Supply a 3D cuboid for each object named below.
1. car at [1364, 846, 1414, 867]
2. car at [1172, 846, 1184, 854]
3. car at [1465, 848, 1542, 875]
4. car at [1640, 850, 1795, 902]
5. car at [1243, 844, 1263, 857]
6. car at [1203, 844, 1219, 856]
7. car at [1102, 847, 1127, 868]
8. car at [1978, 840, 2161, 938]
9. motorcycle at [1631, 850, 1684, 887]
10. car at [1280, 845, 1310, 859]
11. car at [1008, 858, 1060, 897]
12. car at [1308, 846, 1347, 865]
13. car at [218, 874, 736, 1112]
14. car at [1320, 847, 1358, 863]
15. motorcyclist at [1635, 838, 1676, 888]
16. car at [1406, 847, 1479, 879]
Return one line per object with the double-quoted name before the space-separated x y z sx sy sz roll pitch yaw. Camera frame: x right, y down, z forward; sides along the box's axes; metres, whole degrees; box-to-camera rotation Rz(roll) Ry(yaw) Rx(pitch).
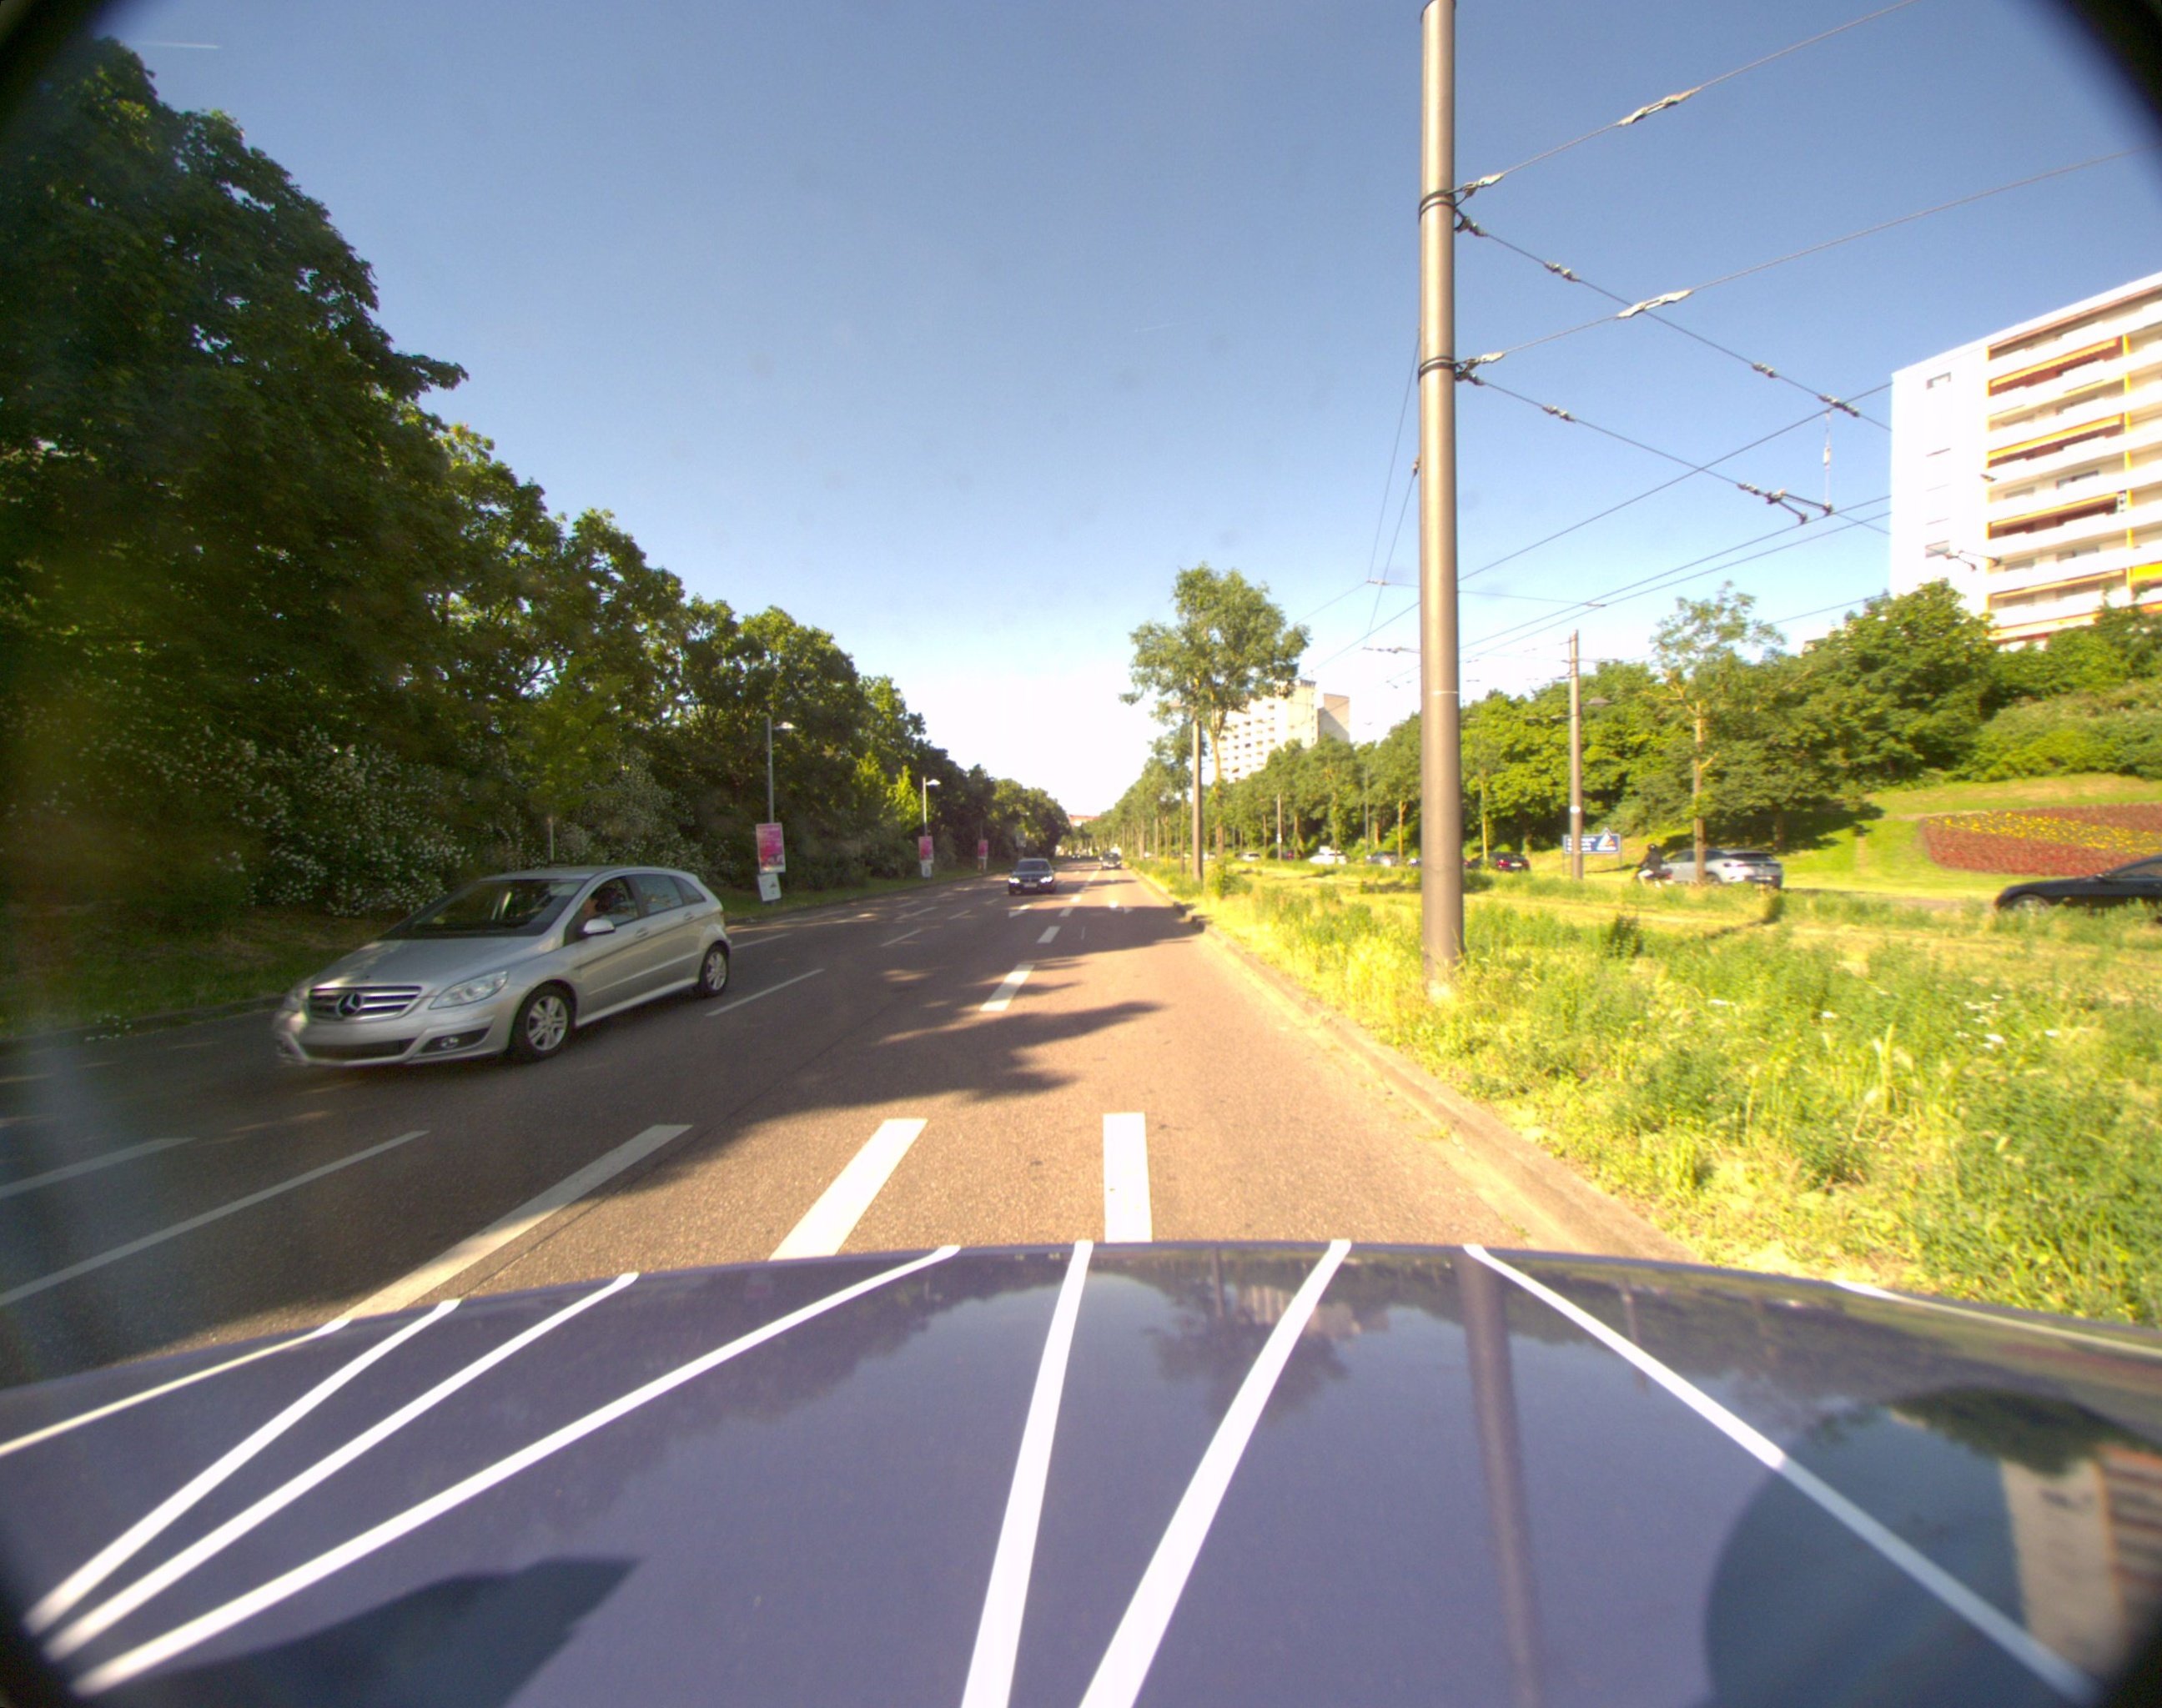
"car" 22.704 0.167 56.189 1.998 1.366 4.400 -2 1 3
"car" 18.037 -0.731 141.270 1.998 1.401 4.991 -2 1 4
"car" 22.156 0.365 40.006 1.866 1.334 4.031 0 1 1
"car" 21.754 0.689 26.256 1.842 1.592 4.438 -1 1 4
"car" 19.737 -0.362 87.507 1.592 1.464 4.183 -1 0 3
"car" 19.129 -0.611 112.019 1.767 1.599 3.758 0 1 2
"car" 2.834 0.280 64.965 1.998 1.696 3.999 -2 1 1
"car" 17.834 0.544 12.022 1.880 1.477 4.604 -2 1 1
"motorcycle" 18.757 0.435 24.766 0.422 1.125 2.096 -2 1 9
"car" 23.224 -0.232 82.611 1.998 1.472 4.631 -2 1 2
"car" -1.929 0.935 32.248 1.831 1.401 4.216 -2 1 1
"car" 19.495 0.082 60.205 1.707 1.414 4.643 -1 0 2
"car" -5.194 1.042 7.402 1.672 1.531 4.060 -1 0 2
"car" 23.458 0.080 69.256 1.998 1.424 4.693 0 1 2
"motorcyclist" 18.766 0.288 24.825 0.836 1.590 0.640 -2 1 9
"car" 18.964 0.434 40.106 1.998 1.585 4.465 0 1 4
